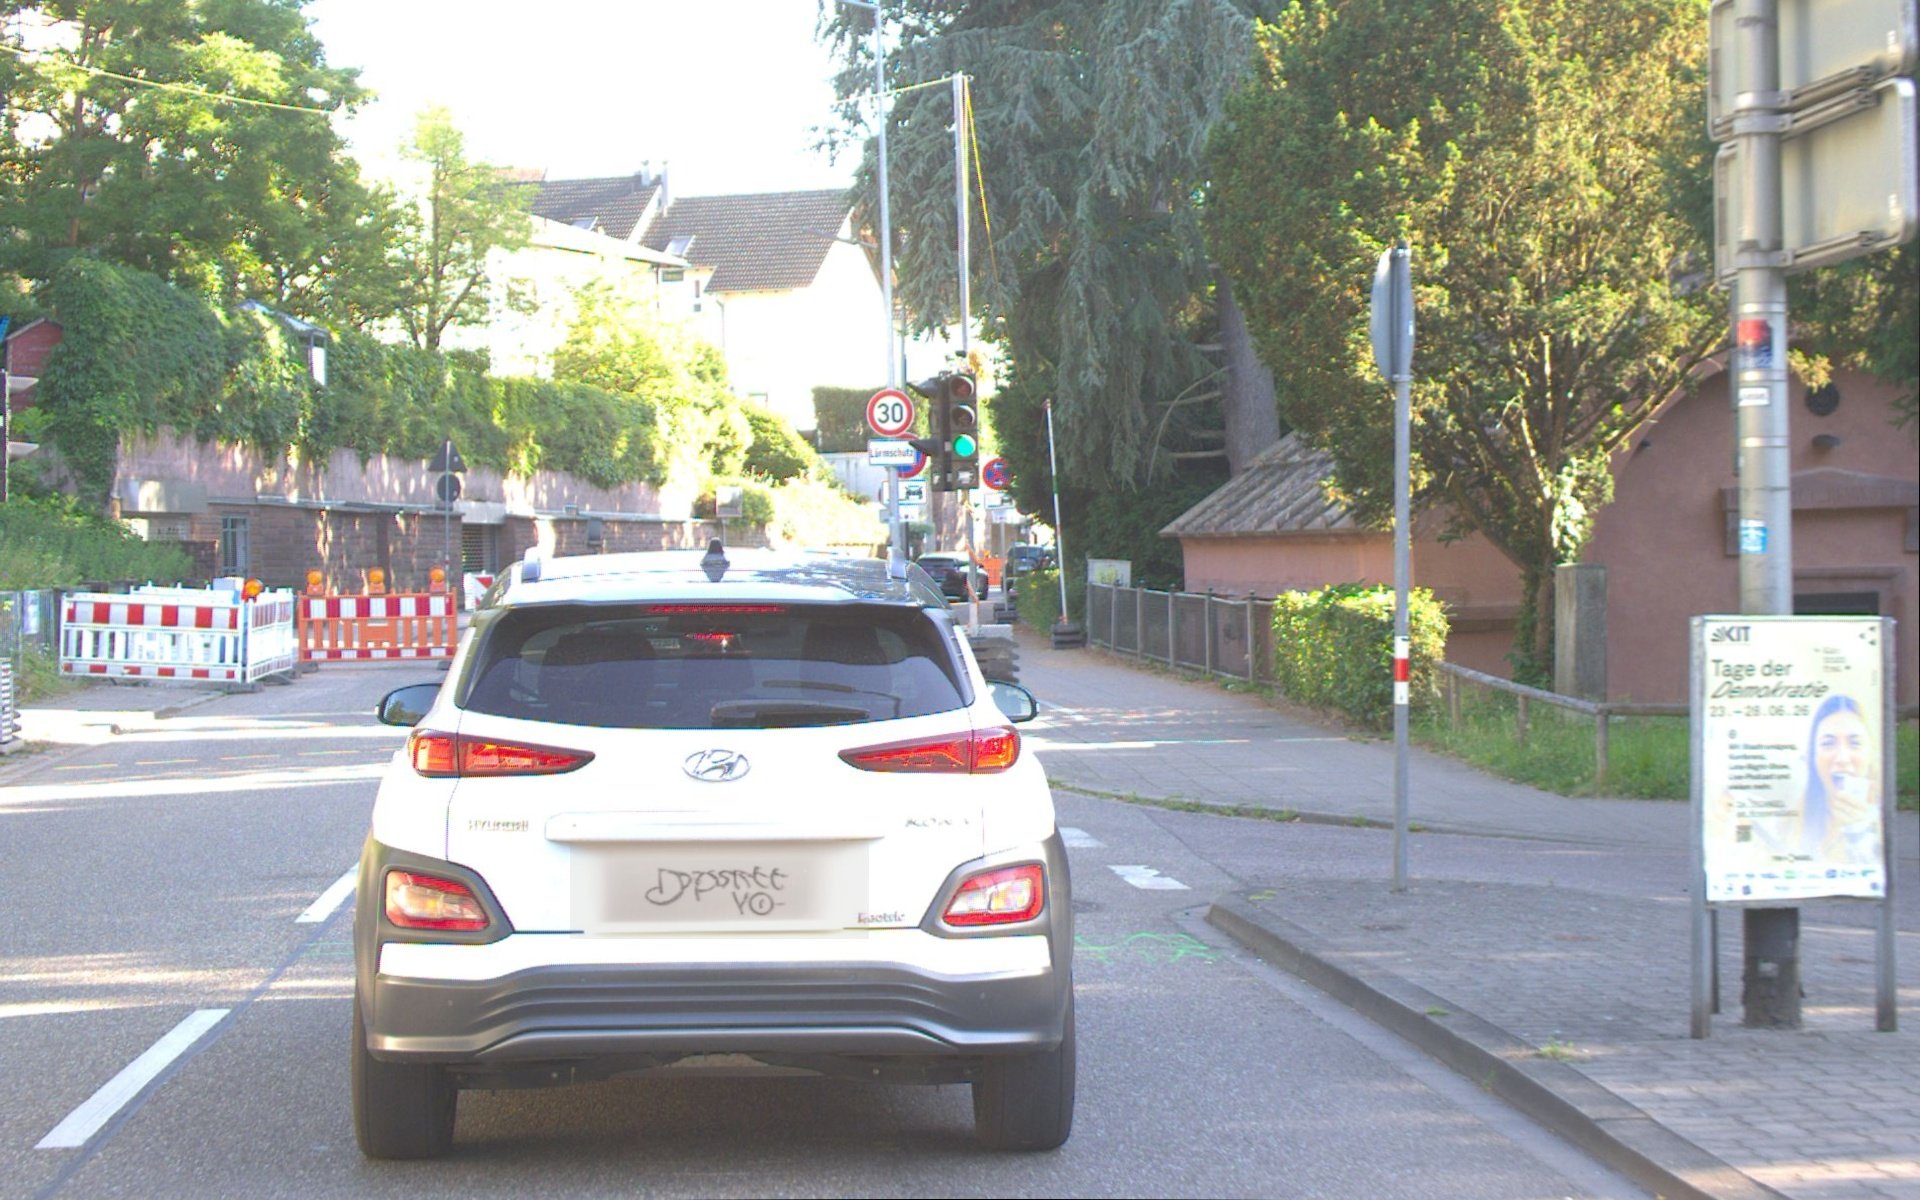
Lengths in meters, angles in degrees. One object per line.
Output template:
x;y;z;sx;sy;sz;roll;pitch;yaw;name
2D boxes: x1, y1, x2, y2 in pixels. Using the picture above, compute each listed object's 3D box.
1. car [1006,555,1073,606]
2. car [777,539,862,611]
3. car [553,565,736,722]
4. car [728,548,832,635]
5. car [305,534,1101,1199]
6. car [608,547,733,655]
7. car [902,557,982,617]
2.669;-0.666;114.664;1.832;1.656;3.999;1;1;7;car
-3.435;-0.634;84.718;1.831;1.735;4.000;1;1;1;car
-3.205;0.397;34.956;1.707;1.429;4.366;1;1;-5;car
-3.609;-0.192;69.600;1.831;1.656;4.000;1;1;0;car
-0.763;0.611;10.001;1.820;1.568;4.001;1;1;-5;car
-4.420;-0.015;52.587;1.805;1.532;4.001;1;1;-4;car
-0.510;-0.401;100.653;1.832;1.656;3.999;1;1;7;car
